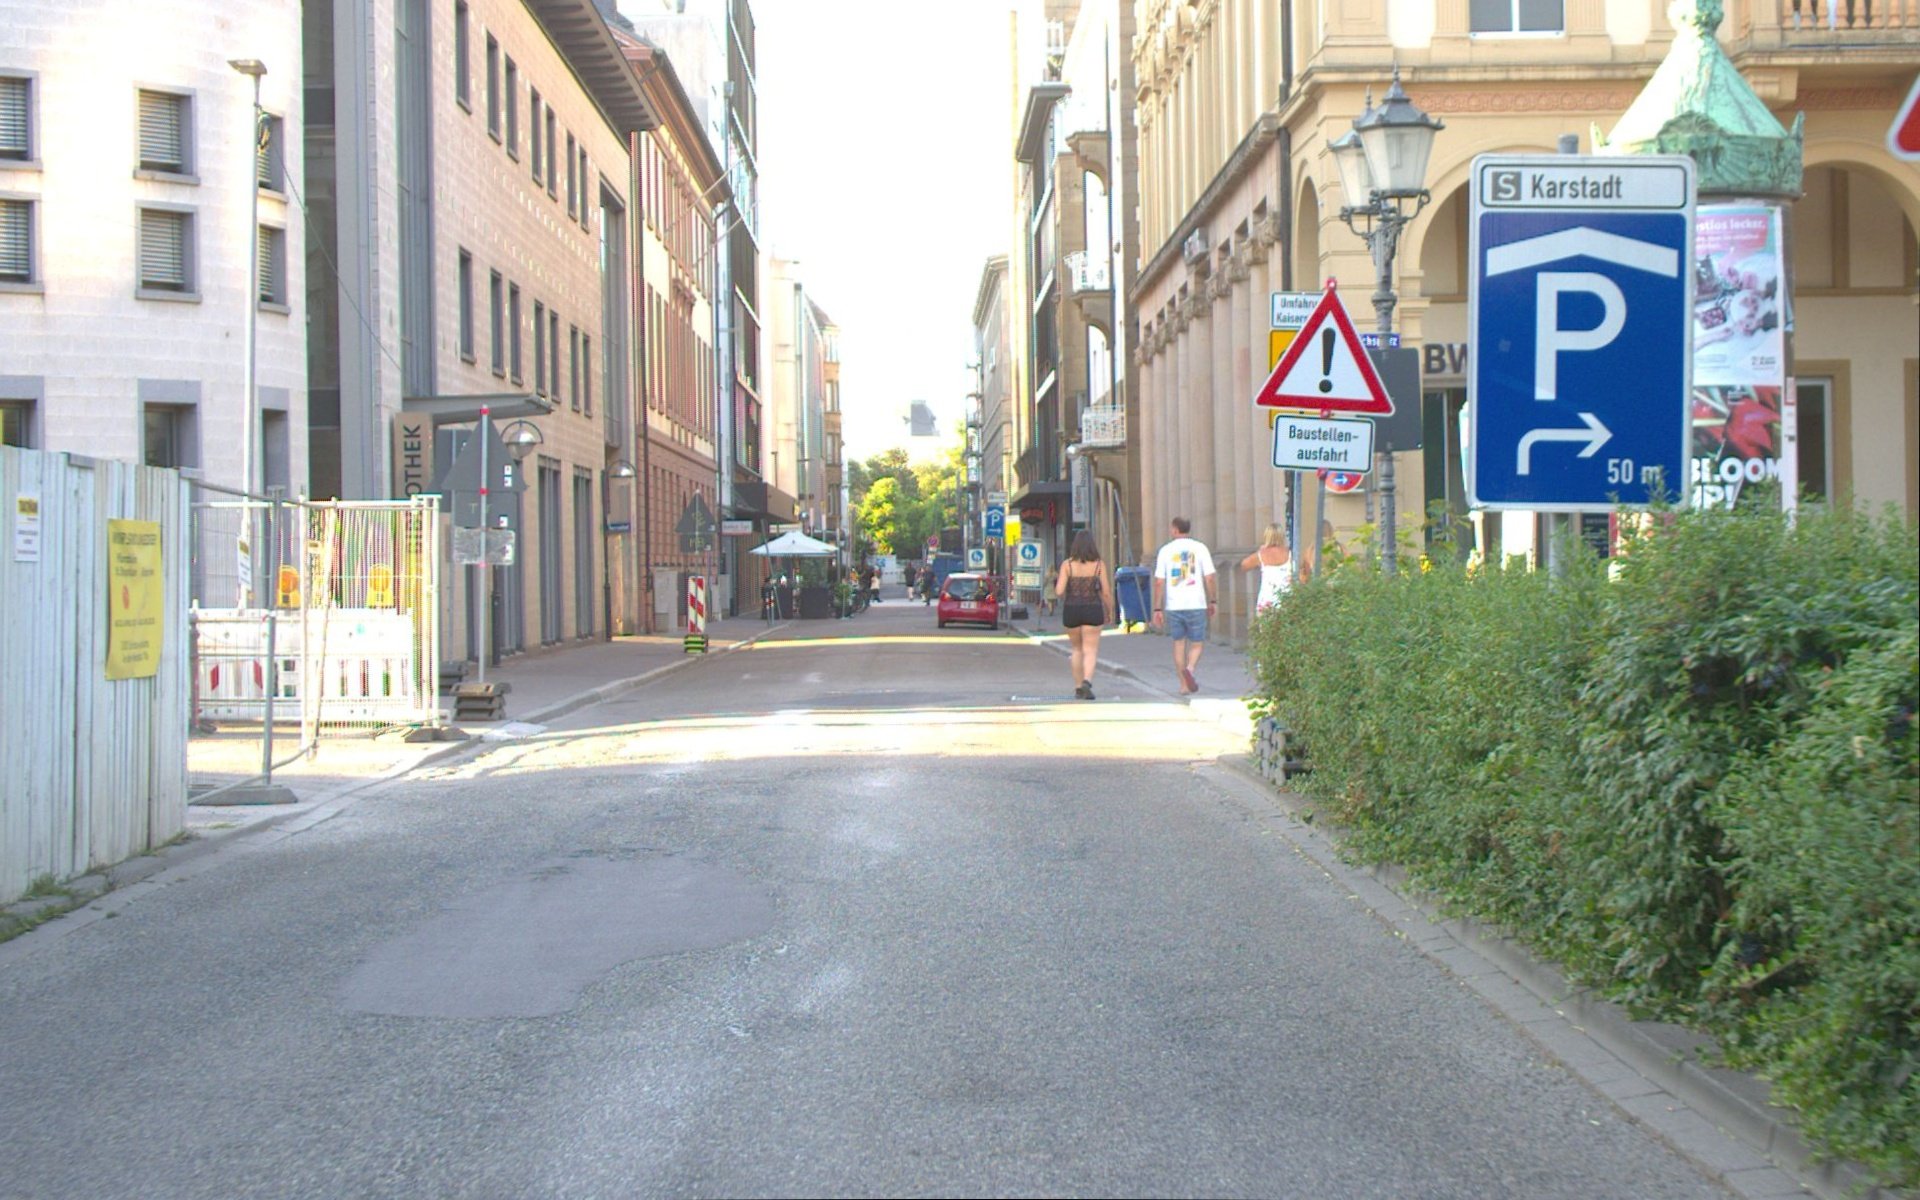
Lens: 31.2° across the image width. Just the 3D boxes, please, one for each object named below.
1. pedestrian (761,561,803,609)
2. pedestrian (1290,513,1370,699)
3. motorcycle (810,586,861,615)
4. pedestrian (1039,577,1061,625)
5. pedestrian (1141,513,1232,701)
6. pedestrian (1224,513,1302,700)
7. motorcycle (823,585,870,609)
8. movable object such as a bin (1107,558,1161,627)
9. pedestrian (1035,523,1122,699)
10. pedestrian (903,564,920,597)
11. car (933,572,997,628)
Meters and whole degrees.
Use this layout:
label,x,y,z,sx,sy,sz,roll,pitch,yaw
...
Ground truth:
label,x,y,z,sx,sy,sz,roll,pitch,yaw
pedestrian,-5.585,-0.469,108.066,1.290,1.482,0.661,-1,0,-2
pedestrian,3.624,0.056,33.717,0.636,1.797,0.772,-1,0,-2
motorcycle,-4.494,0.029,124.137,1.801,1.037,0.494,-1,0,-4
pedestrian,2.817,0.031,107.961,0.656,1.482,0.493,-1,0,2
pedestrian,2.302,0.066,35.045,0.812,1.869,0.875,-1,0,-2
pedestrian,2.964,0.064,33.691,0.636,1.797,0.772,-1,0,-2
motorcycle,-4.373,-0.119,132.315,1.801,0.872,0.560,-1,0,-4
movable object such as a bin,3.608,-0.162,71.485,0.990,1.387,1.241,-2,0,-1
pedestrian,1.191,0.105,34.705,0.775,1.740,0.875,-1,0,-2
pedestrian,-2.486,-0.983,175.703,0.804,1.667,0.888,-1,0,1
car,0.122,-0.005,92.460,1.649,1.422,3.535,2,0,0
